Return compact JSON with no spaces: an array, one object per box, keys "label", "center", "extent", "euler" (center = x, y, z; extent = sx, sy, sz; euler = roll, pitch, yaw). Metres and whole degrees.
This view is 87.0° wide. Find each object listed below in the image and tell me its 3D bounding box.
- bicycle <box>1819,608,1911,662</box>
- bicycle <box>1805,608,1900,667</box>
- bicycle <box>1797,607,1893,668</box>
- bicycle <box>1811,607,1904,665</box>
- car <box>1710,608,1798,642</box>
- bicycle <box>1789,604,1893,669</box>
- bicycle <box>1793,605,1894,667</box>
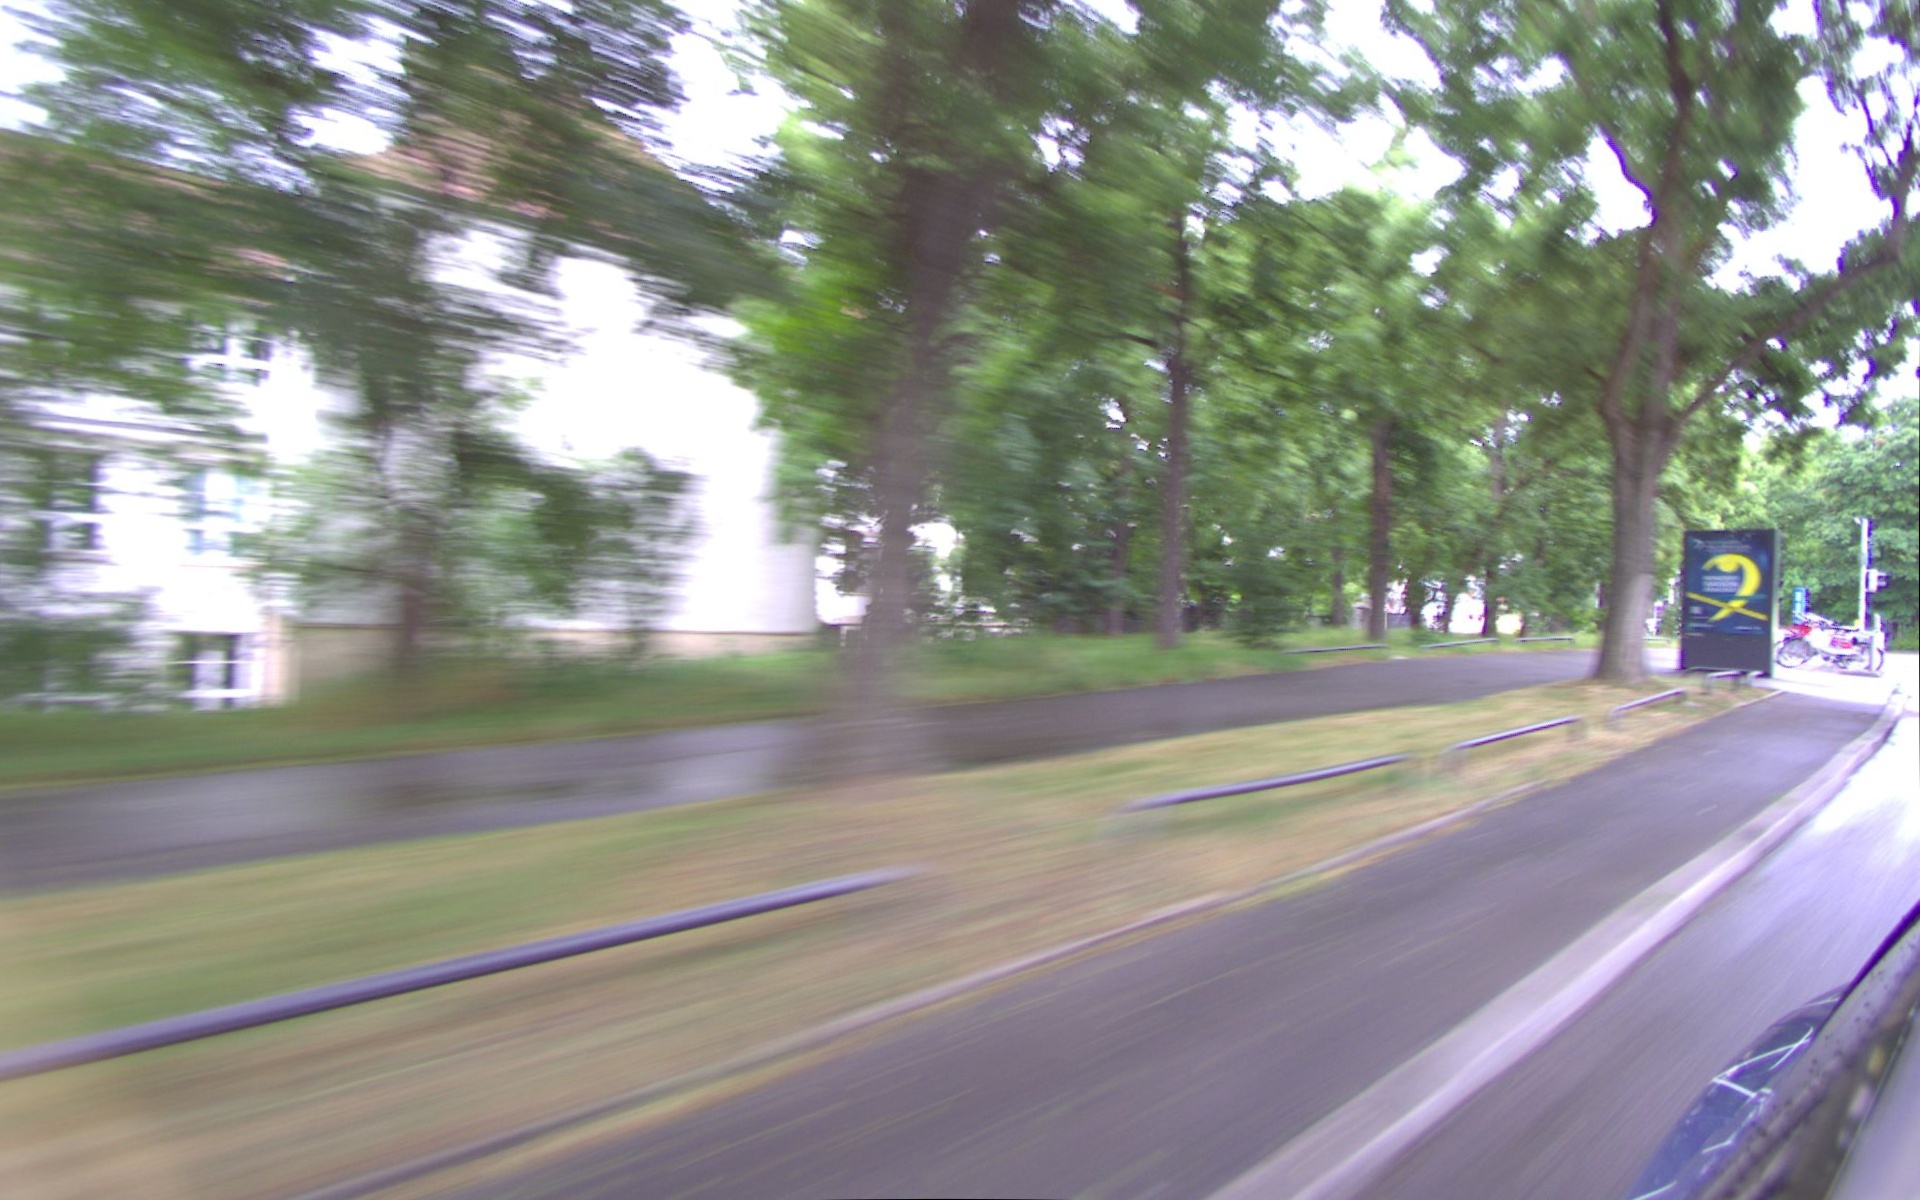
[{"label":"bicycle","center":[22.047,0.831,24.677],"extent":[1.597,1.145,0.548],"euler":[5,4,44]},{"label":"bicycle","center":[19.619,0.801,22.255],"extent":[1.486,1.145,0.548],"euler":[5,4,44]},{"label":"bicycle","center":[19.025,0.790,21.775],"extent":[1.486,1.145,0.548],"euler":[5,4,44]},{"label":"bicycle","center":[20.163,0.798,22.760],"extent":[1.486,1.145,0.548],"euler":[5,4,44]},{"label":"car","center":[50.149,1.568,63.979],"extent":[3.928,2.039,1.997],"euler":[1,-1,4]},{"label":"bicycle","center":[17.604,0.707,20.237],"extent":[1.486,1.145,0.548],"euler":[5,4,44]},{"label":"bicycle","center":[18.263,0.723,20.935],"extent":[1.486,1.145,0.548],"euler":[5,4,44]}]
